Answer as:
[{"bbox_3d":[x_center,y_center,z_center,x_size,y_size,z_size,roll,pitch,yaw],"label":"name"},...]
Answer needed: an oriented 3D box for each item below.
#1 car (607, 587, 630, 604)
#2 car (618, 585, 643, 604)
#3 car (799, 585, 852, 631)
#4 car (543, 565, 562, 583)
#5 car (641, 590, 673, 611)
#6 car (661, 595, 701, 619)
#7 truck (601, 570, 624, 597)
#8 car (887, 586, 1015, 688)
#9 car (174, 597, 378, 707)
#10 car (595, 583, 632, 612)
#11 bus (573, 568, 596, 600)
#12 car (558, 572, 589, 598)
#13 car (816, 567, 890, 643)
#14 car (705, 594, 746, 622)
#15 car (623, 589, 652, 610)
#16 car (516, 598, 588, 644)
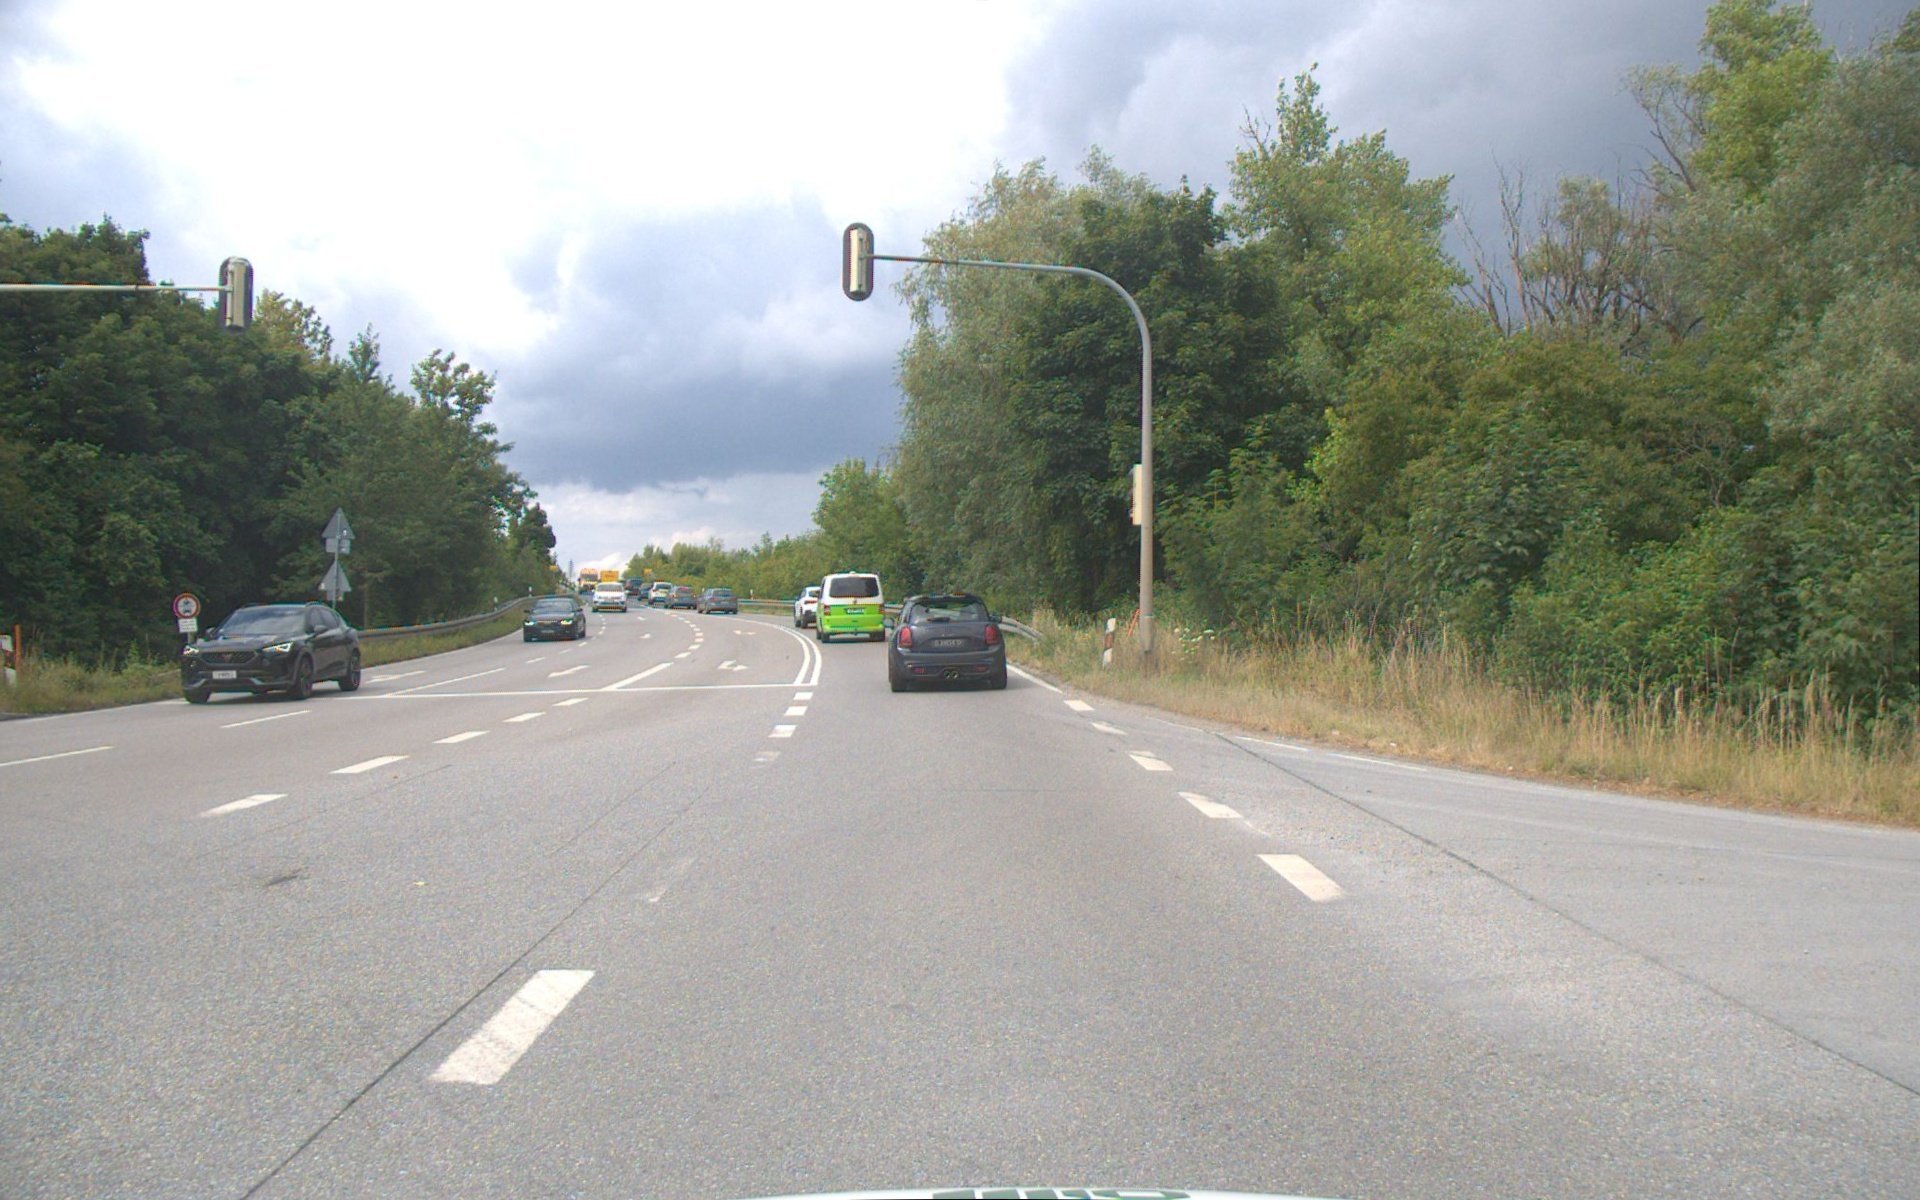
[{"bbox_3d":[-36.828,-0.503,178.429,1.962,1.725,4.463,1,-1,-18],"label":"car"},{"bbox_3d":[-31.631,-0.479,158.784,1.961,1.725,4.466,1,-1,-16],"label":"car"},{"bbox_3d":[-5.151,0.319,63.919,1.954,1.713,3.997,0,0,-4],"label":"car"},{"bbox_3d":[-47.086,-3.010,191.170,1.959,2.049,3.988,0,0,-12],"label":"car"},{"bbox_3d":[-22.728,0.067,123.924,1.961,1.502,4.465,1,-1,-16],"label":"car"},{"bbox_3d":[-18.595,0.477,110.052,1.963,1.502,4.461,1,-1,-19],"label":"car"},{"bbox_3d":[-44.702,-2.089,212.803,2.669,2.949,8.744,2,-2,-11],"label":"truck"},{"bbox_3d":[-0.208,0.535,25.567,1.808,1.453,3.838,0,0,-3],"label":"car"},{"bbox_3d":[-11.107,0.799,27.170,1.727,1.610,4.200,-1,0,-3],"label":"car"},{"bbox_3d":[-19.970,-0.173,95.449,1.957,1.641,3.991,0,1,-10],"label":"car"},{"bbox_3d":[-40.108,-1.692,176.633,1.961,3.360,7.395,0,0,-16],"label":"bus"},{"bbox_3d":[-26.002,-1.027,111.232,1.959,1.720,3.986,0,1,-13],"label":"car"},{"bbox_3d":[-3.189,0.117,48.725,1.811,2.021,3.834,0,3,-9],"label":"car"},{"bbox_3d":[-13.495,0.474,94.876,1.959,1.502,4.471,1,-1,-13],"label":"car"},{"bbox_3d":[-27.514,-0.053,141.077,1.962,1.725,4.464,1,-1,-17],"label":"car"},{"bbox_3d":[-14.148,0.703,57.598,1.704,1.430,4.247,-3,1,-5],"label":"car"}]
